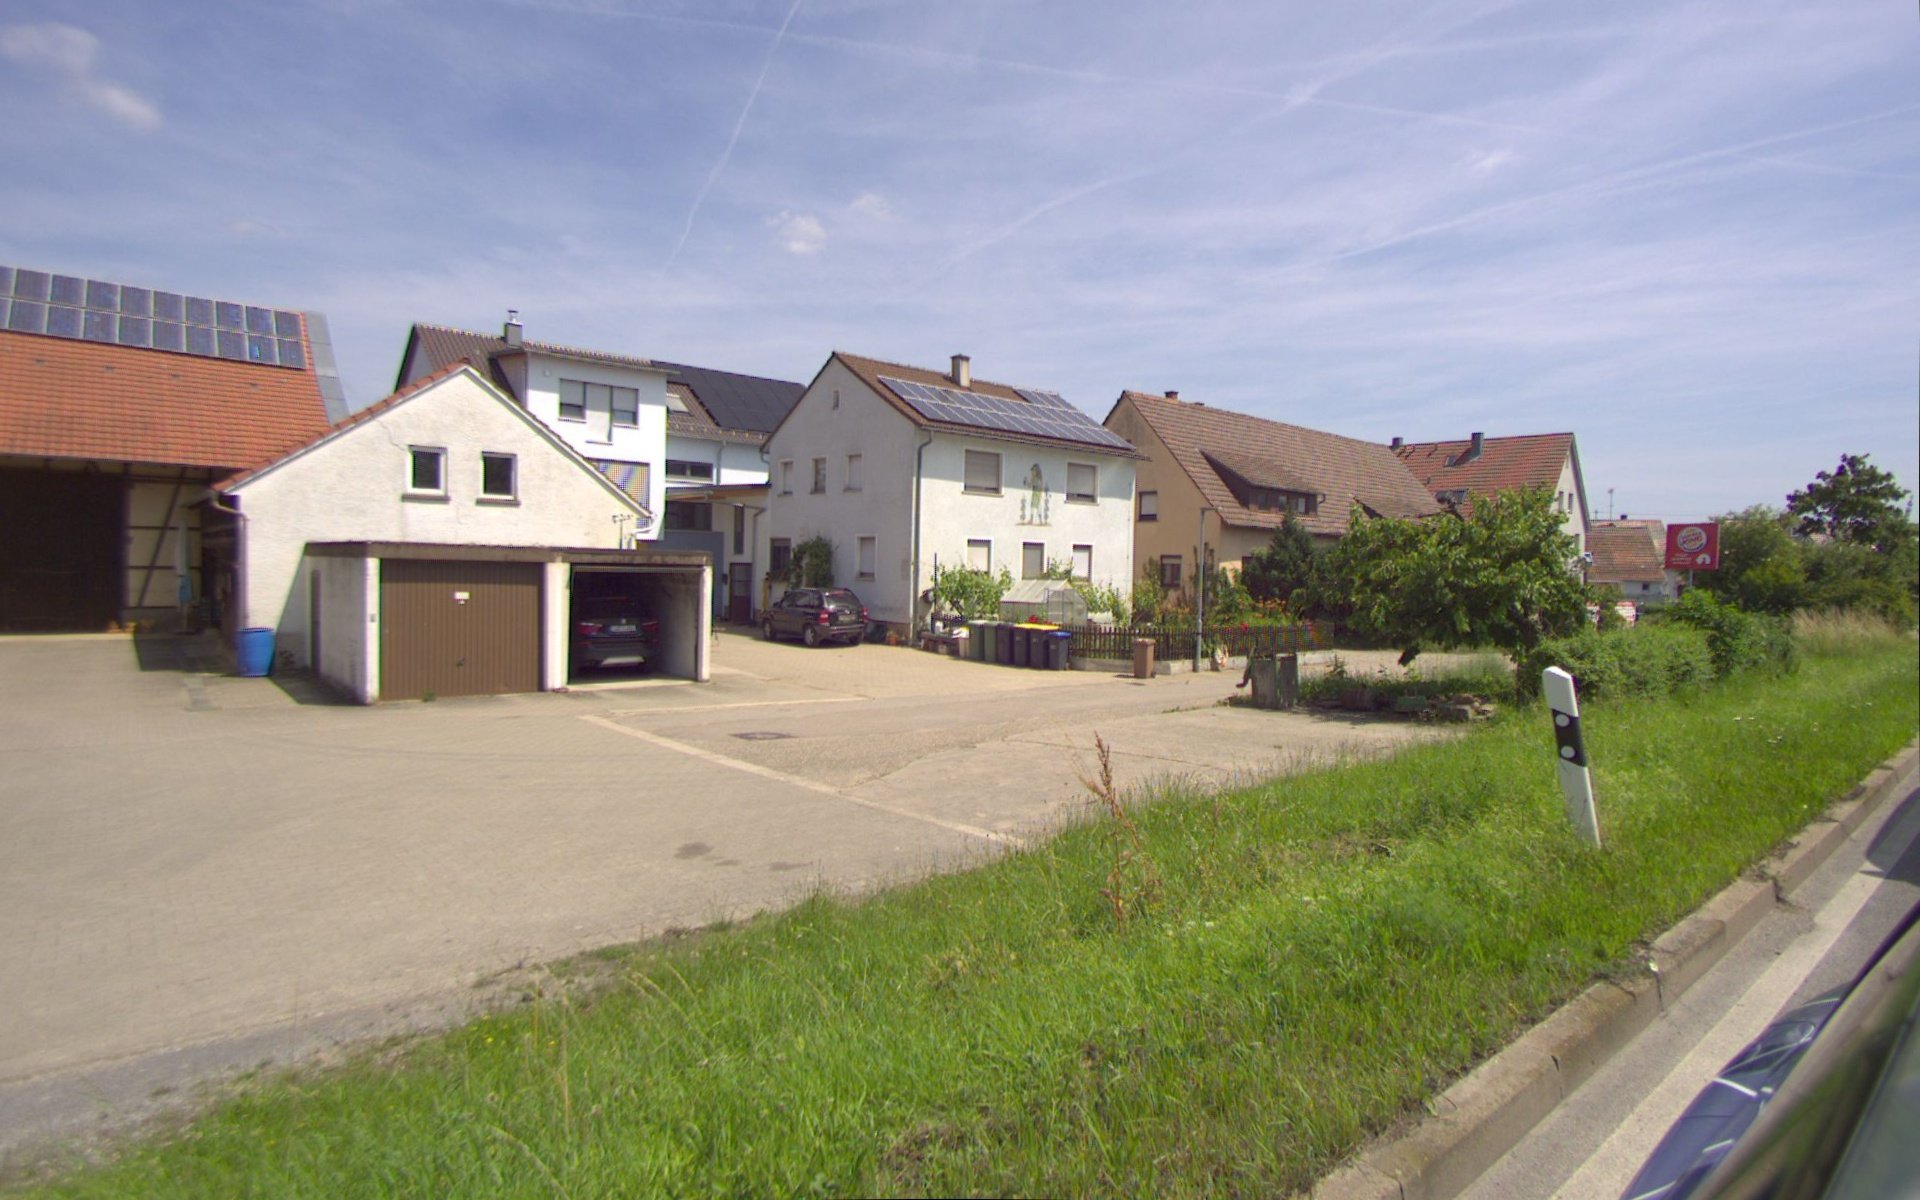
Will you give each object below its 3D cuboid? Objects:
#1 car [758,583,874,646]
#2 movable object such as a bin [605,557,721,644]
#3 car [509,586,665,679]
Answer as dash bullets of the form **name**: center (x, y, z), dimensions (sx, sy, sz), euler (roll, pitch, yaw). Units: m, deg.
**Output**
- **car**: center (-4.497, 0.376, 31.144), dimensions (1.810, 1.714, 3.959), euler (-1, 3, -38)
- **movable object such as a bin**: center (-8.799, -0.031, 29.821), dimensions (2.041, 2.372, 3.720), euler (2, 1, -38)
- **car**: center (-7.728, 0.569, 20.763), dimensions (1.802, 1.597, 3.996), euler (-1, 2, -40)
